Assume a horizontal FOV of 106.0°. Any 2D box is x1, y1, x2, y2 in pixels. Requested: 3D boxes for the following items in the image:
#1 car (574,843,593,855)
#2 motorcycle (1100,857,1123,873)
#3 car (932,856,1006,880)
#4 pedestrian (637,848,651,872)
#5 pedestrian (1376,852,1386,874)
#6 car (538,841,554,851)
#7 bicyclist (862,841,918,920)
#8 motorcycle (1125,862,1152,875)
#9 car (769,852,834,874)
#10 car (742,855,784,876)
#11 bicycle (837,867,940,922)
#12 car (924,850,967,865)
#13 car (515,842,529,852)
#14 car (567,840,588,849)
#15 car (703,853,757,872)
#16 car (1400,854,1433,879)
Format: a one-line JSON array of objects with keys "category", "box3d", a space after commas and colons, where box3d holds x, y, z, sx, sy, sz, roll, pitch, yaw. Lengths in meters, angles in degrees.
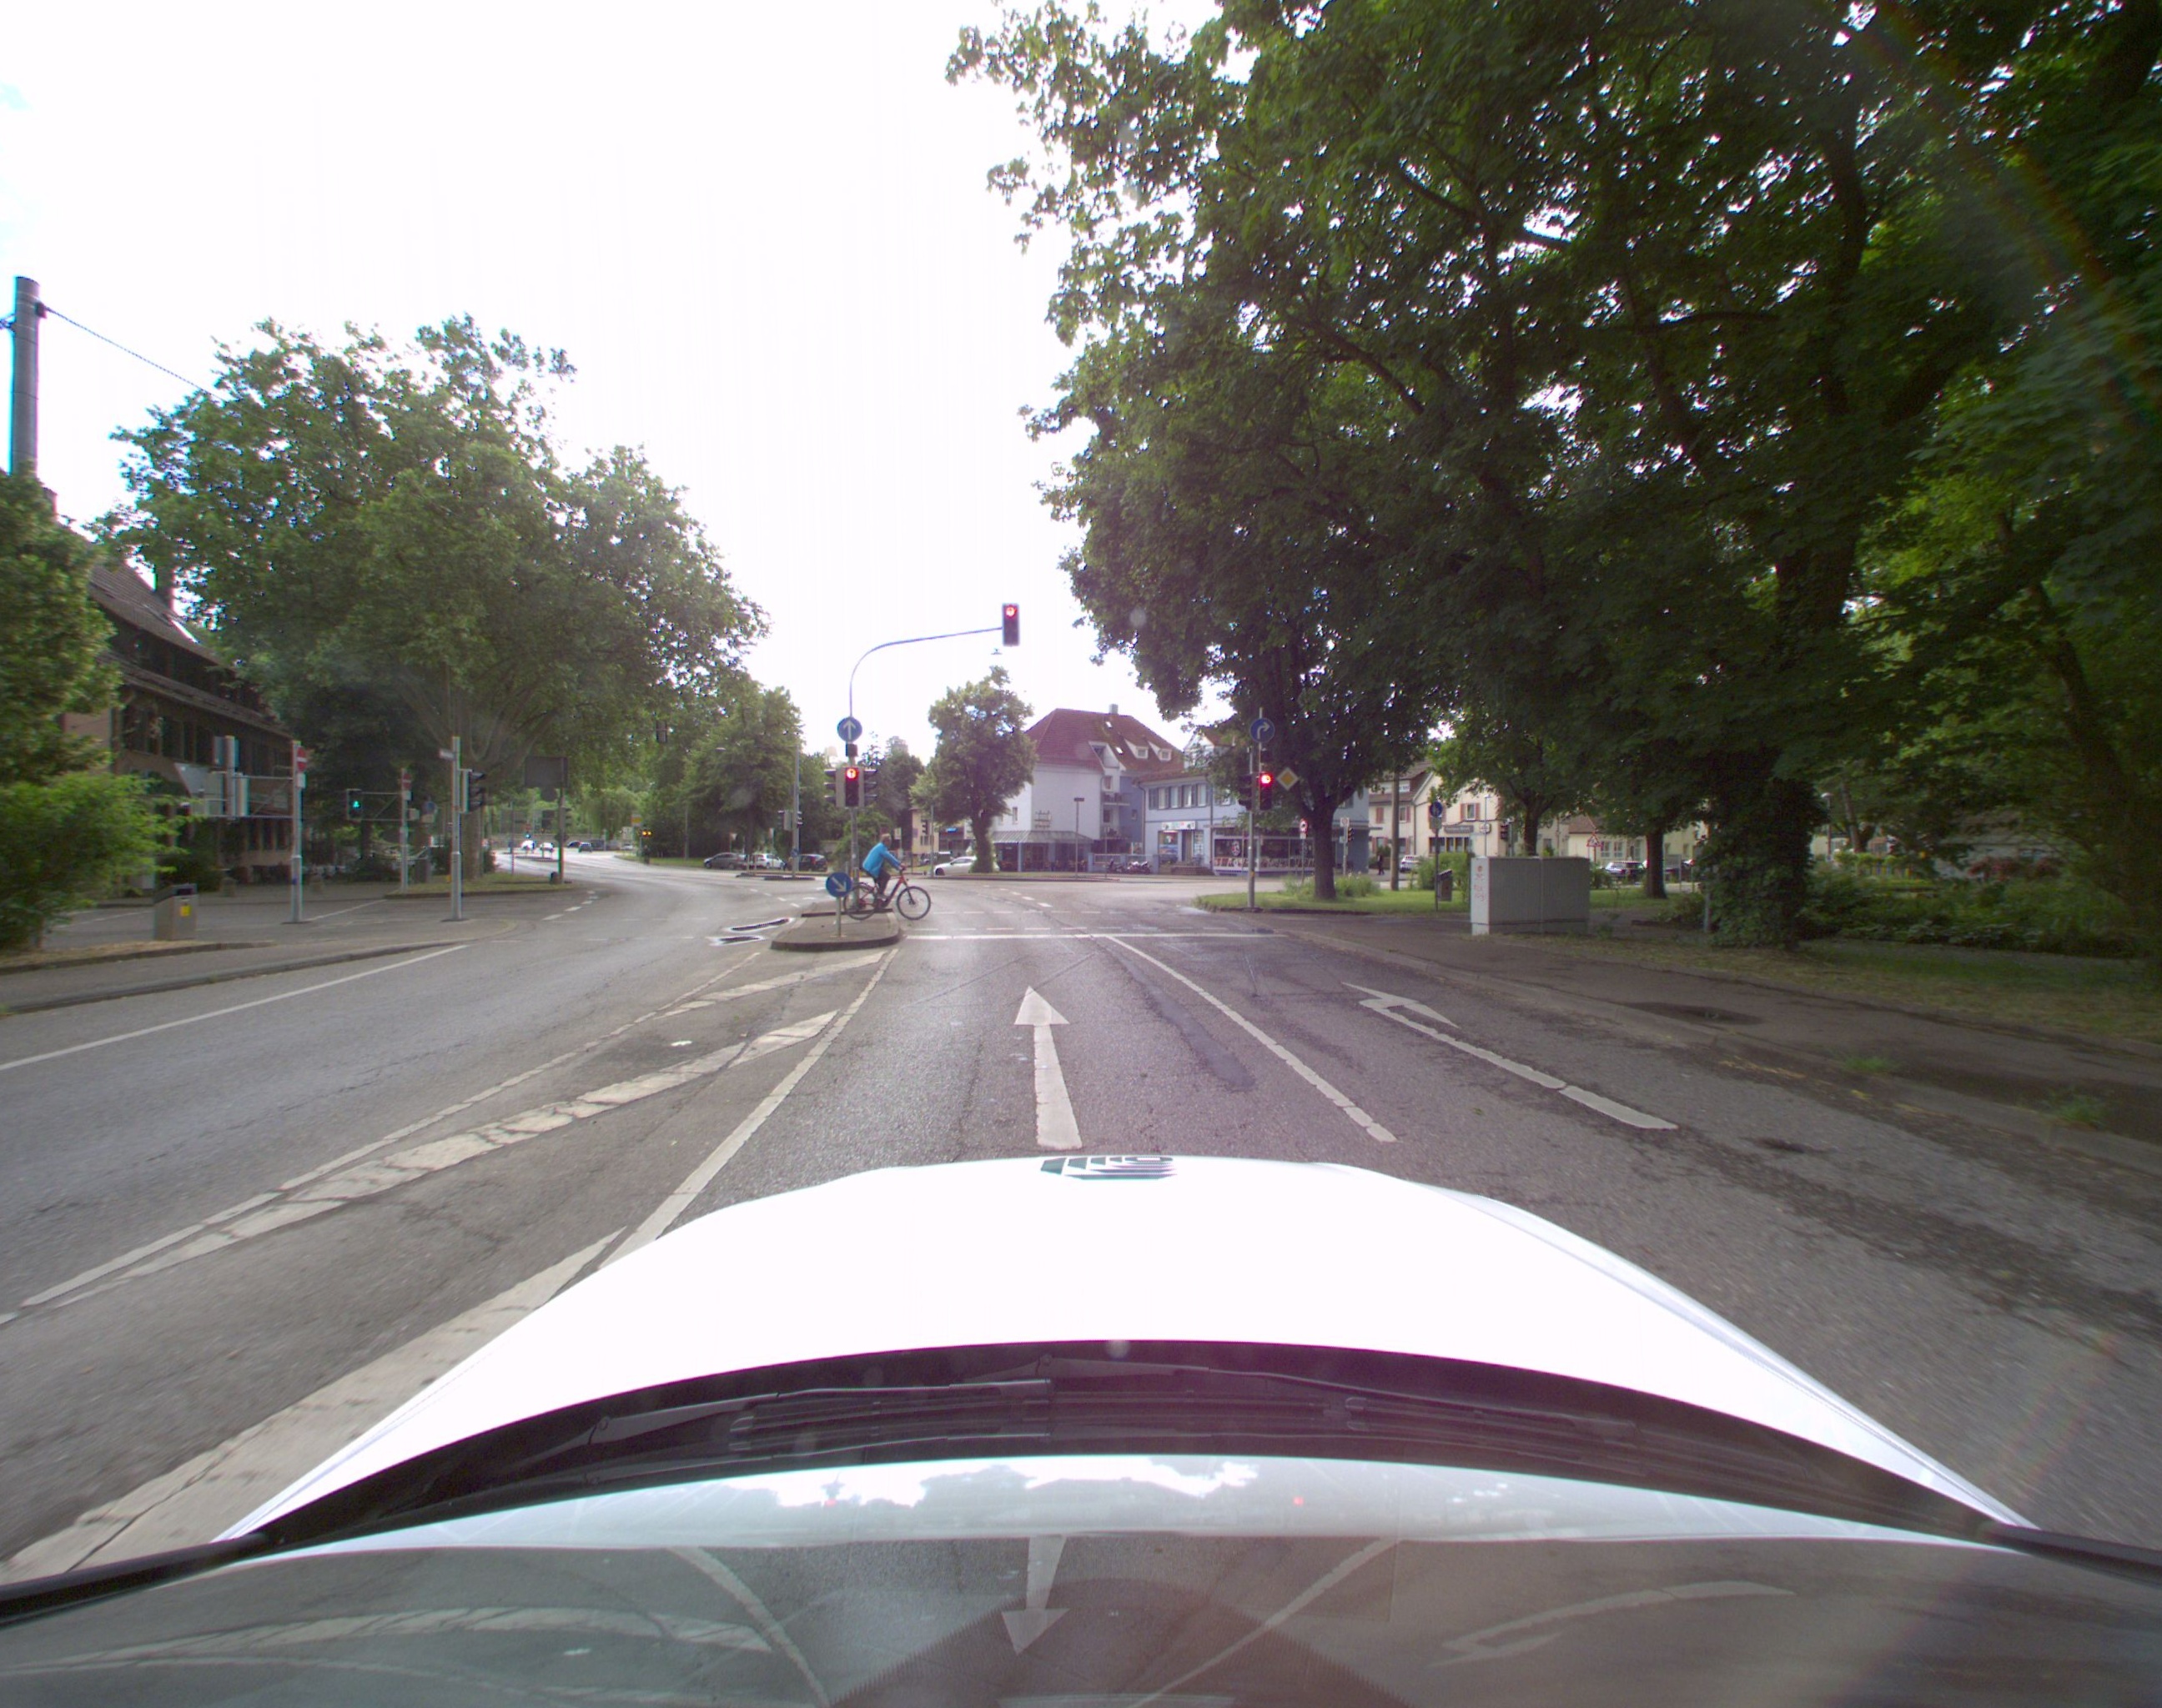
[{"category": "car", "box3d": [-81.189, -0.826, 132.894, 2.001, 1.882, 3.972, -1, 0, -21]}, {"category": "motorcycle", "box3d": [2.231, 0.821, 59.695, 1.481, 1.106, 0.564, -2, 5, 25]}, {"category": "car", "box3d": [-7.486, 0.963, 54.534, 4.534, 1.517, 2.012, -1, 0, 27]}, {"category": "pedestrian", "box3d": [-39.985, 0.551, 74.582, 0.849, 2.178, 0.781, -1, 0, 30]}, {"category": "pedestrian", "box3d": [21.215, 0.637, 57.499, 0.406, 1.552, 0.495, -1, 0, -35]}, {"category": "car", "box3d": [-103.228, -1.584, 157.172, 2.004, 1.882, 3.966, -1, 0, -26]}, {"category": "bicyclist", "box3d": [-4.039, 0.535, 17.186, 1.101, 1.599, 0.936, 0, 0, -17]}, {"category": "motorcycle", "box3d": [4.117, 1.009, 58.205, 1.819, 0.848, 0.564, -1, 5, 29]}, {"category": "car", "box3d": [-21.195, 0.687, 61.676, 4.534, 1.517, 2.012, -1, 0, 27]}, {"category": "car", "box3d": [-28.744, 1.020, 73.733, 1.984, 1.772, 4.006, -1, 0, 5]}, {"category": "bicycle", "box3d": [-4.063, 0.839, 17.181, 2.075, 1.082, 0.936, 0, 0, -17]}, {"category": "car", "box3d": [-13.731, 0.356, 82.731, 4.008, 1.486, 1.745, -1, 0, -27]}, {"category": "car", "box3d": [-106.035, -1.307, 154.413, 2.007, 1.882, 3.960, -1, 0, -32]}, {"category": "car", "box3d": [-116.665, -2.184, 188.580, 4.017, 2.013, 1.978, -1, 0, -35]}, {"category": "car", "box3d": [-30.463, 0.743, 70.678, 3.953, 1.574, 2.010, -1, 0, 20]}, {"category": "car", "box3d": [26.001, 0.951, 63.027, 1.837, 1.865, 3.584, -1, 0, 31]}]
